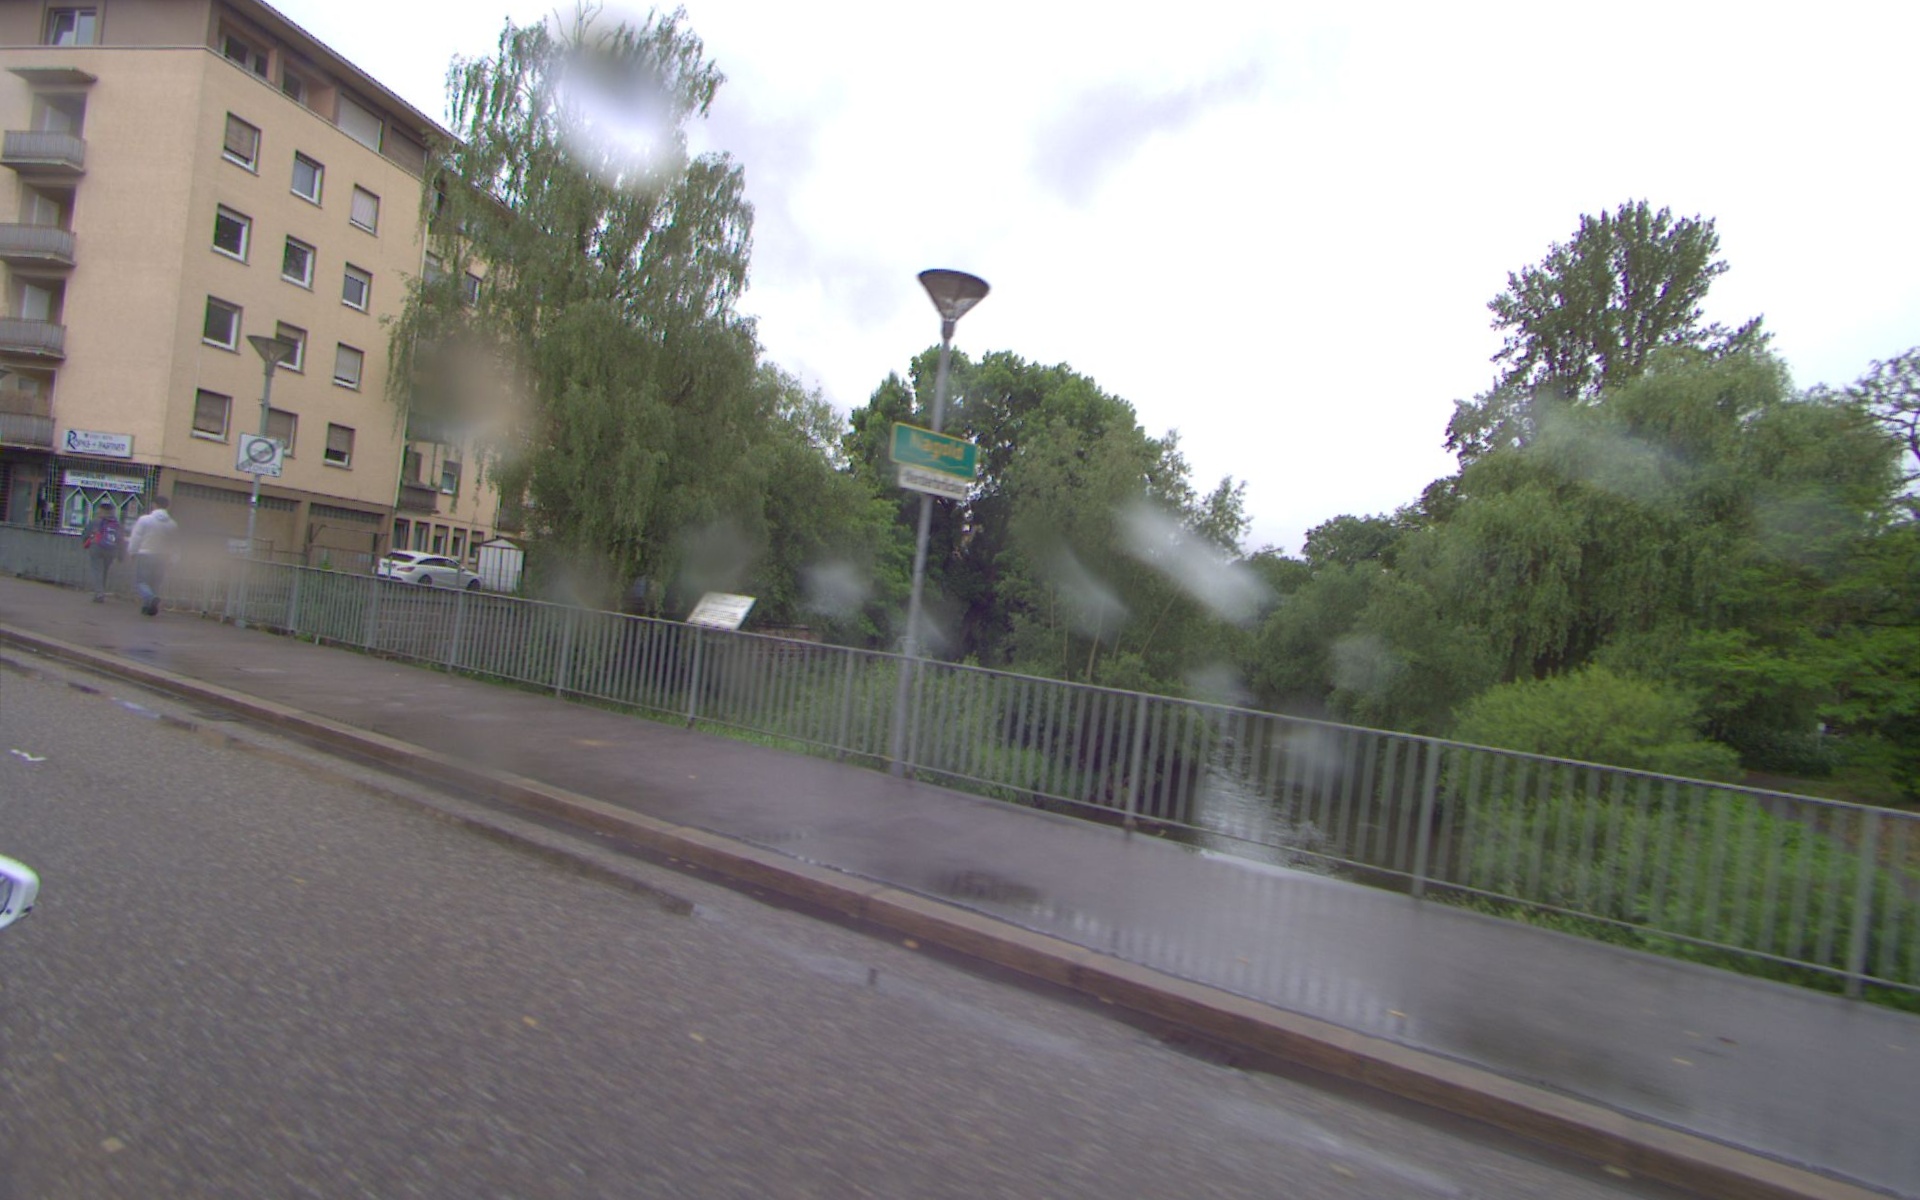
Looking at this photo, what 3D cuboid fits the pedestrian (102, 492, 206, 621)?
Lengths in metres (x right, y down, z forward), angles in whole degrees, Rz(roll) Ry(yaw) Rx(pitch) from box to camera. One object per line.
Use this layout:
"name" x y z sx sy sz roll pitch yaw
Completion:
"pedestrian" -12.055 -0.648 15.053 1.043 1.774 0.780 6 0 31

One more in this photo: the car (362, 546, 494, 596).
"car" -20.229 -1.073 38.516 1.782 1.393 4.455 9 0 15

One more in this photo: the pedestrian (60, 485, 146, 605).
"pedestrian" -14.007 -0.892 16.444 0.768 1.832 0.761 7 1 31
